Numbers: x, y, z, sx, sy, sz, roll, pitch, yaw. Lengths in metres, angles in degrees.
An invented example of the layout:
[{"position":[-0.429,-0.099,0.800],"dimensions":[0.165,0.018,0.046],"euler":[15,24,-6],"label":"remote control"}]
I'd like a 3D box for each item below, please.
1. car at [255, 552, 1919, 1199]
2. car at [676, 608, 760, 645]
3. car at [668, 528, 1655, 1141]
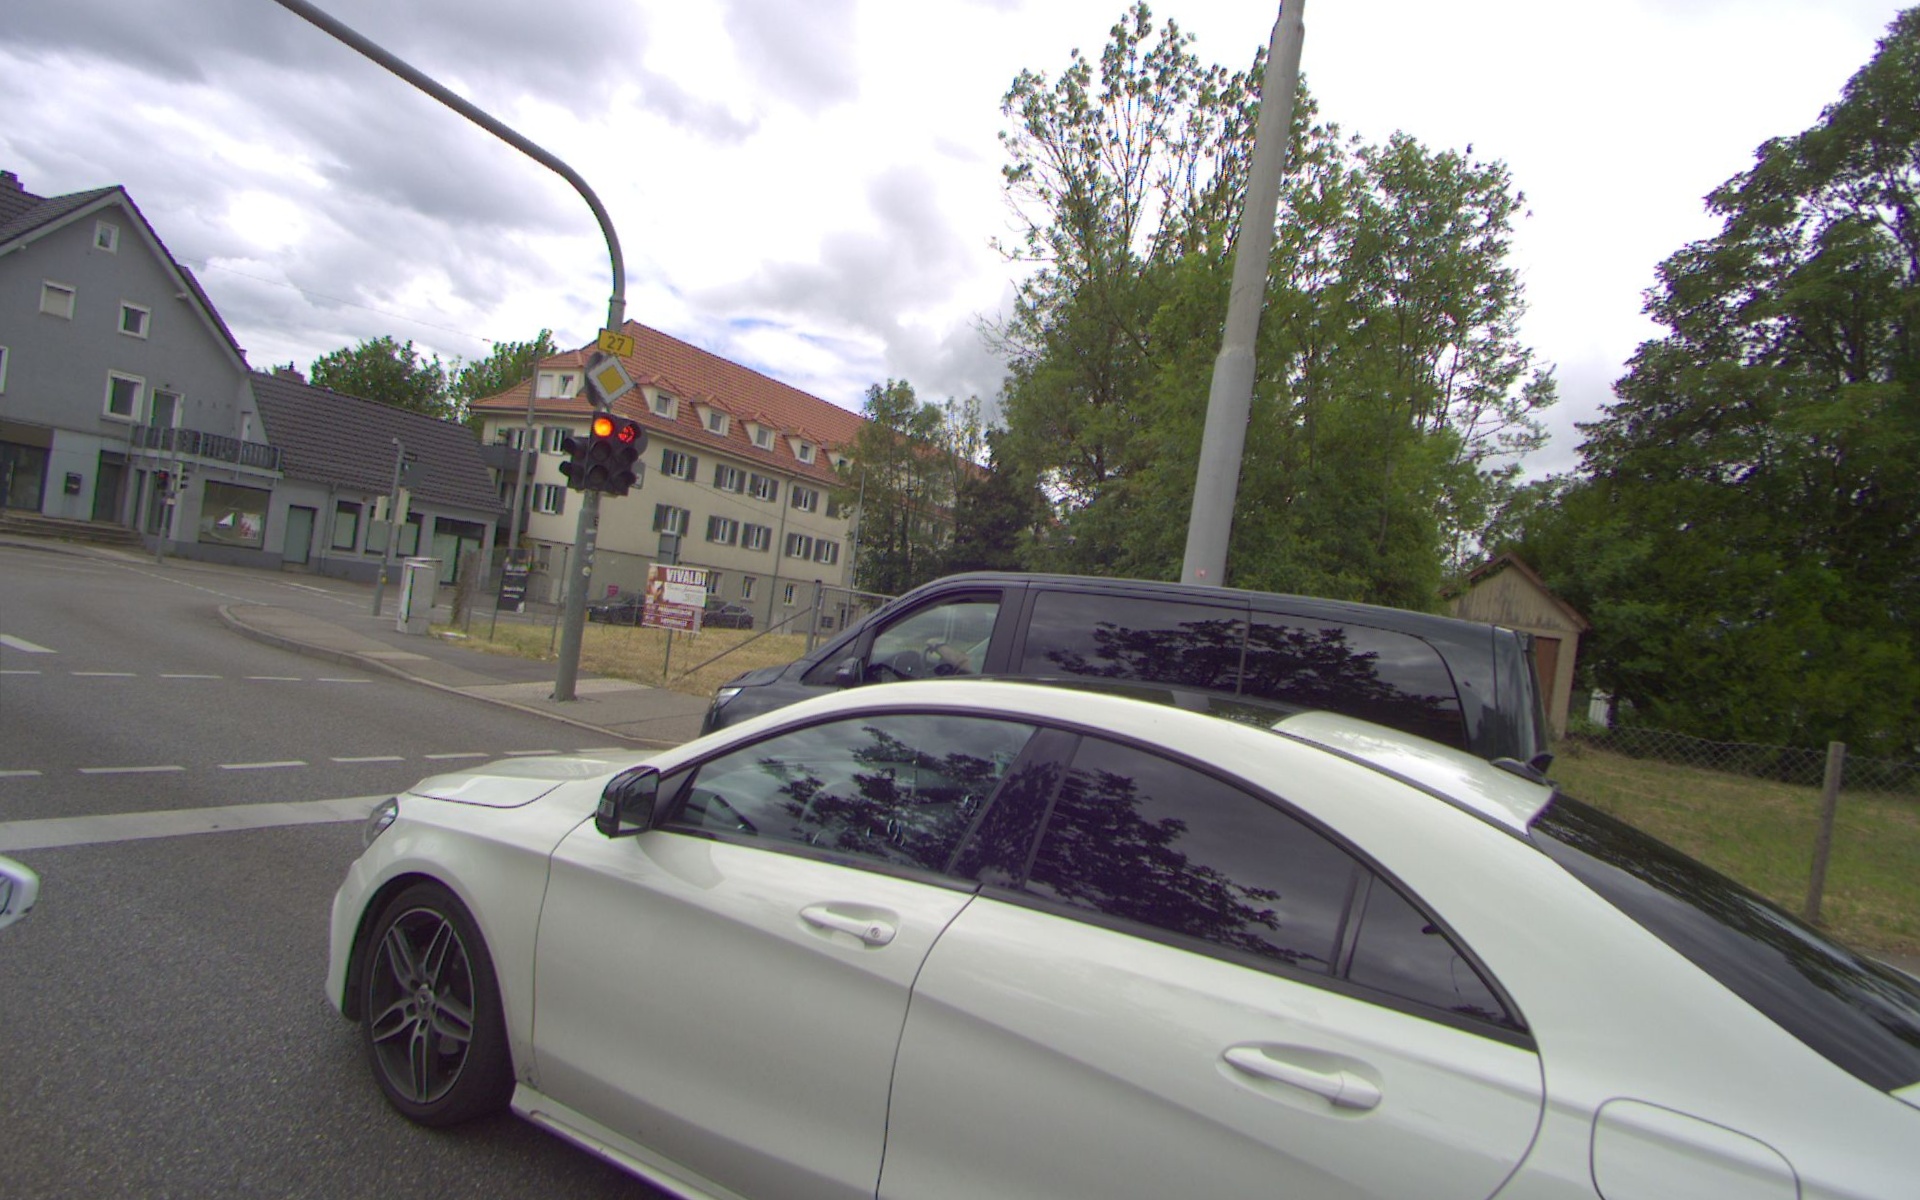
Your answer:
[{"position":[0.160,0.850,2.644],"dimensions":[4.305,1.451,1.651],"euler":[7,0,32],"label":"car"},{"position":[-12.624,1.401,52.652],"dimensions":[1.839,1.393,3.996],"euler":[7,-2,32],"label":"car"},{"position":[0.849,0.835,5.564],"dimensions":[4.631,1.860,1.953],"euler":[7,-2,32],"label":"car"}]
